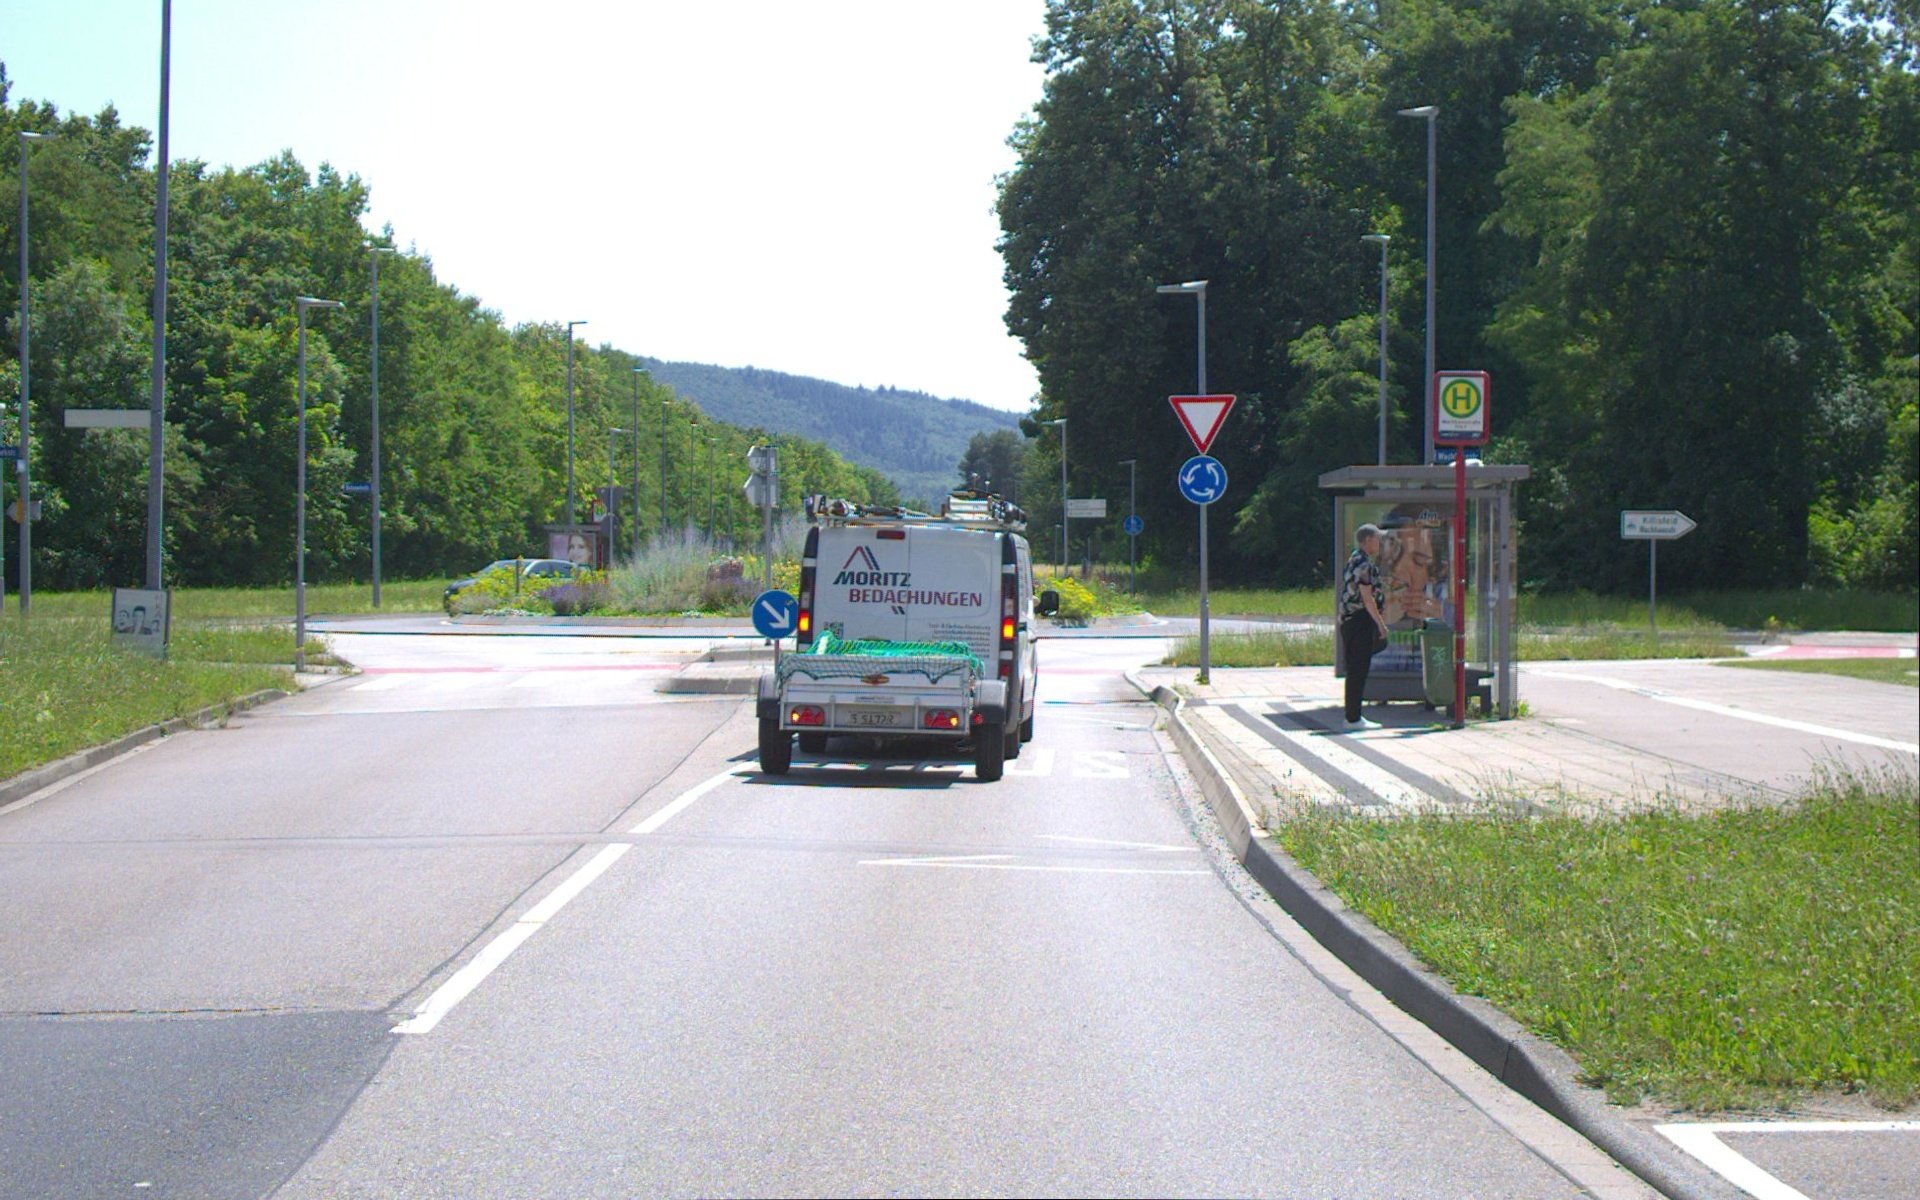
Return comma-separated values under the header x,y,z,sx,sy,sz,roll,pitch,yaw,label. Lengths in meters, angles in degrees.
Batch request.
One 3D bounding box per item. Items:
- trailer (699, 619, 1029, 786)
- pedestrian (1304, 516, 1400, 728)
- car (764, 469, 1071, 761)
x,y,z,sx,sy,sz,roll,pitch,yaw,label
-0.654,0.731,26.065,2.122,1.093,3.354,1,0,5,trailer
3.447,0.188,30.268,0.708,1.816,0.826,-2,0,1,pedestrian
-0.268,0.107,30.253,2.166,2.308,4.980,1,0,5,car
